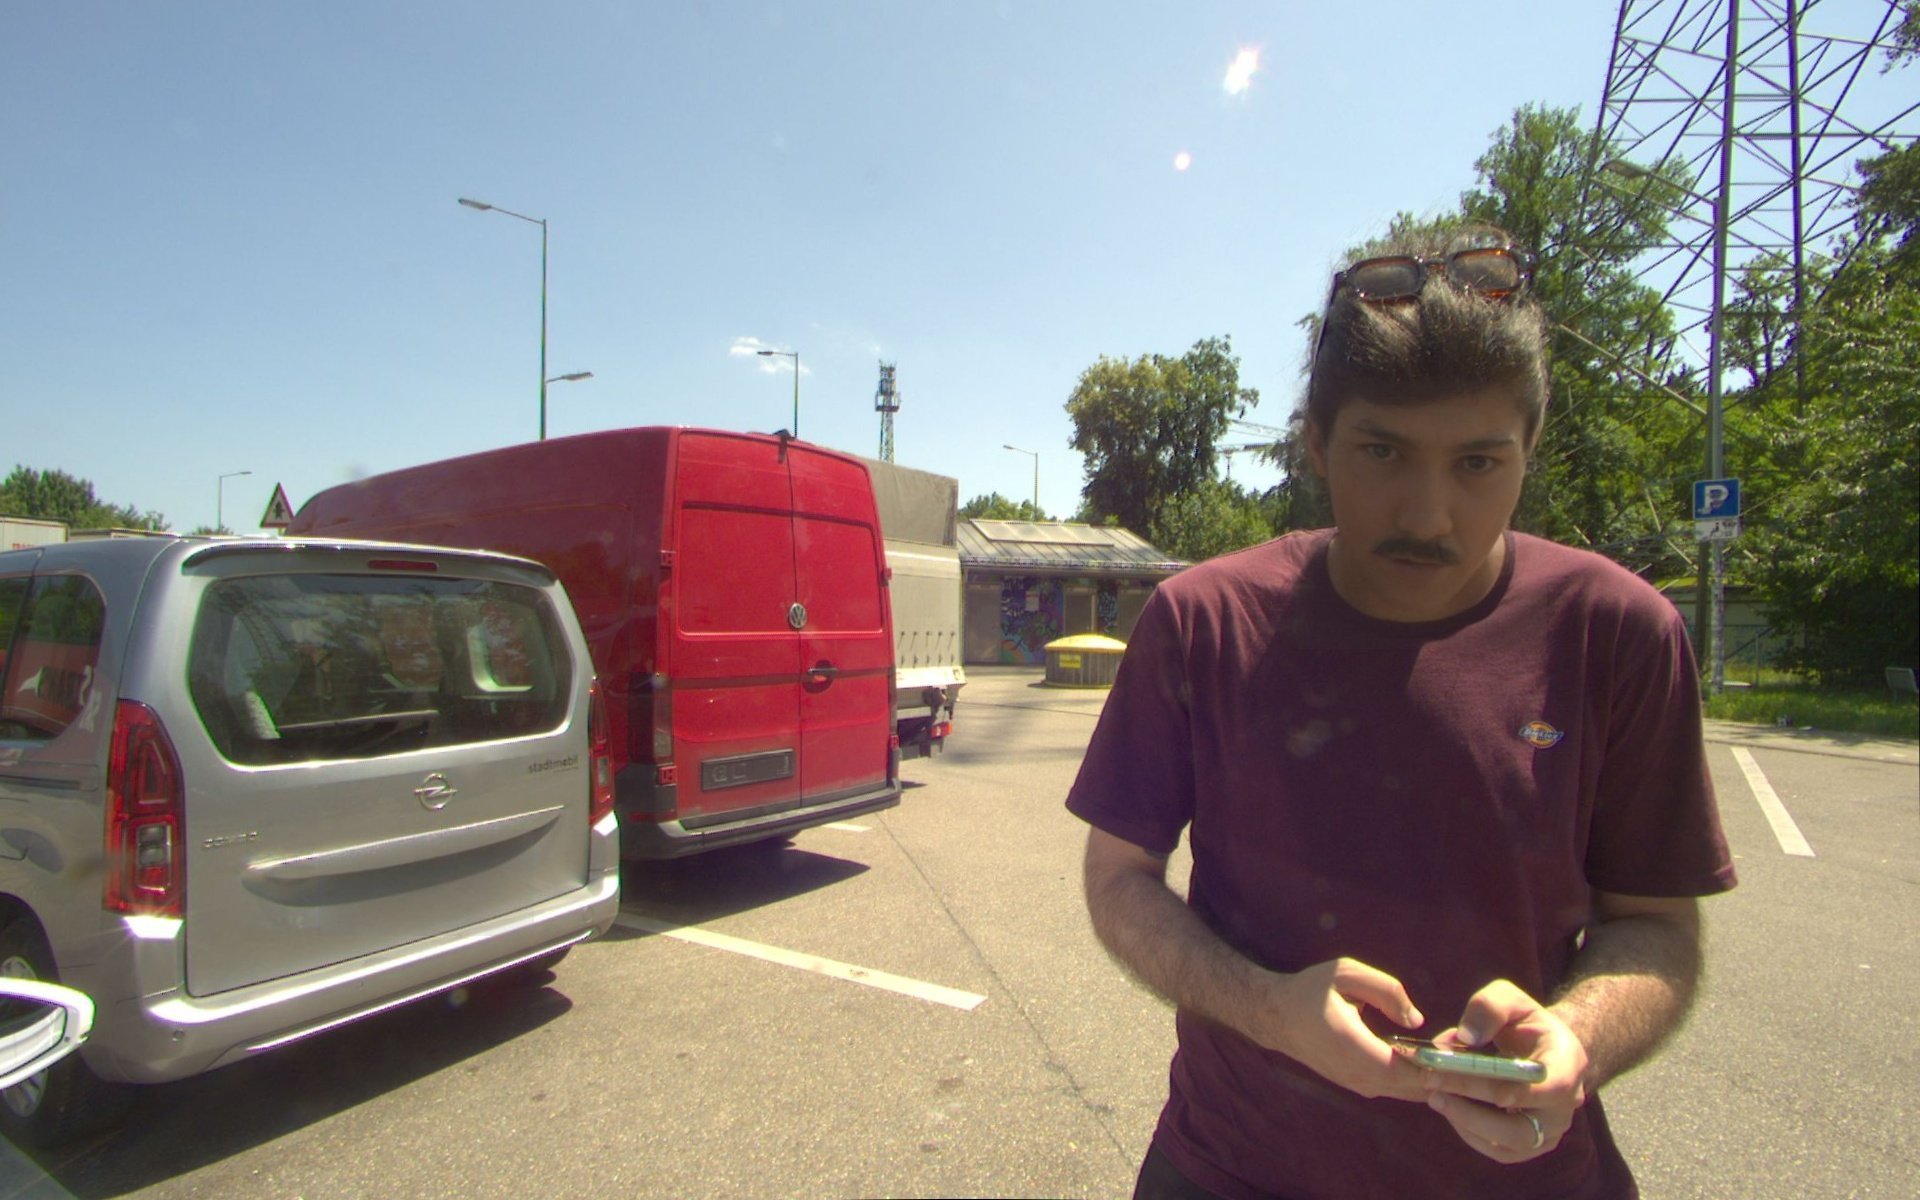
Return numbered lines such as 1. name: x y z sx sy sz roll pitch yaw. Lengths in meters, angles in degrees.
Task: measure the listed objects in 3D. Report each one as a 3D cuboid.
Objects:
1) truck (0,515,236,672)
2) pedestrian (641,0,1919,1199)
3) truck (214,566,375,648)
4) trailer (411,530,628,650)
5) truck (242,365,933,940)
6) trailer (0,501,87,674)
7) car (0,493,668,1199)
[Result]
1. truck: -27.998 -0.125 31.788 14.316 4.175 2.901 0 -3 33
2. pedestrian: 0.365 0.513 0.876 0.926 1.798 0.827 1 0 28
3. truck: -30.717 0.327 46.076 8.407 3.482 3.019 0 -1 33
4. trailer: -17.357 -0.246 40.347 2.793 4.313 8.671 1 -1 19
5. truck: -2.867 0.266 7.004 5.233 2.658 1.987 0 -1 37
6. trailer: -28.802 -0.322 28.034 13.374 4.178 2.871 0 -1 33
7. car: -3.353 0.640 4.219 3.938 1.776 1.824 0 -1 29
